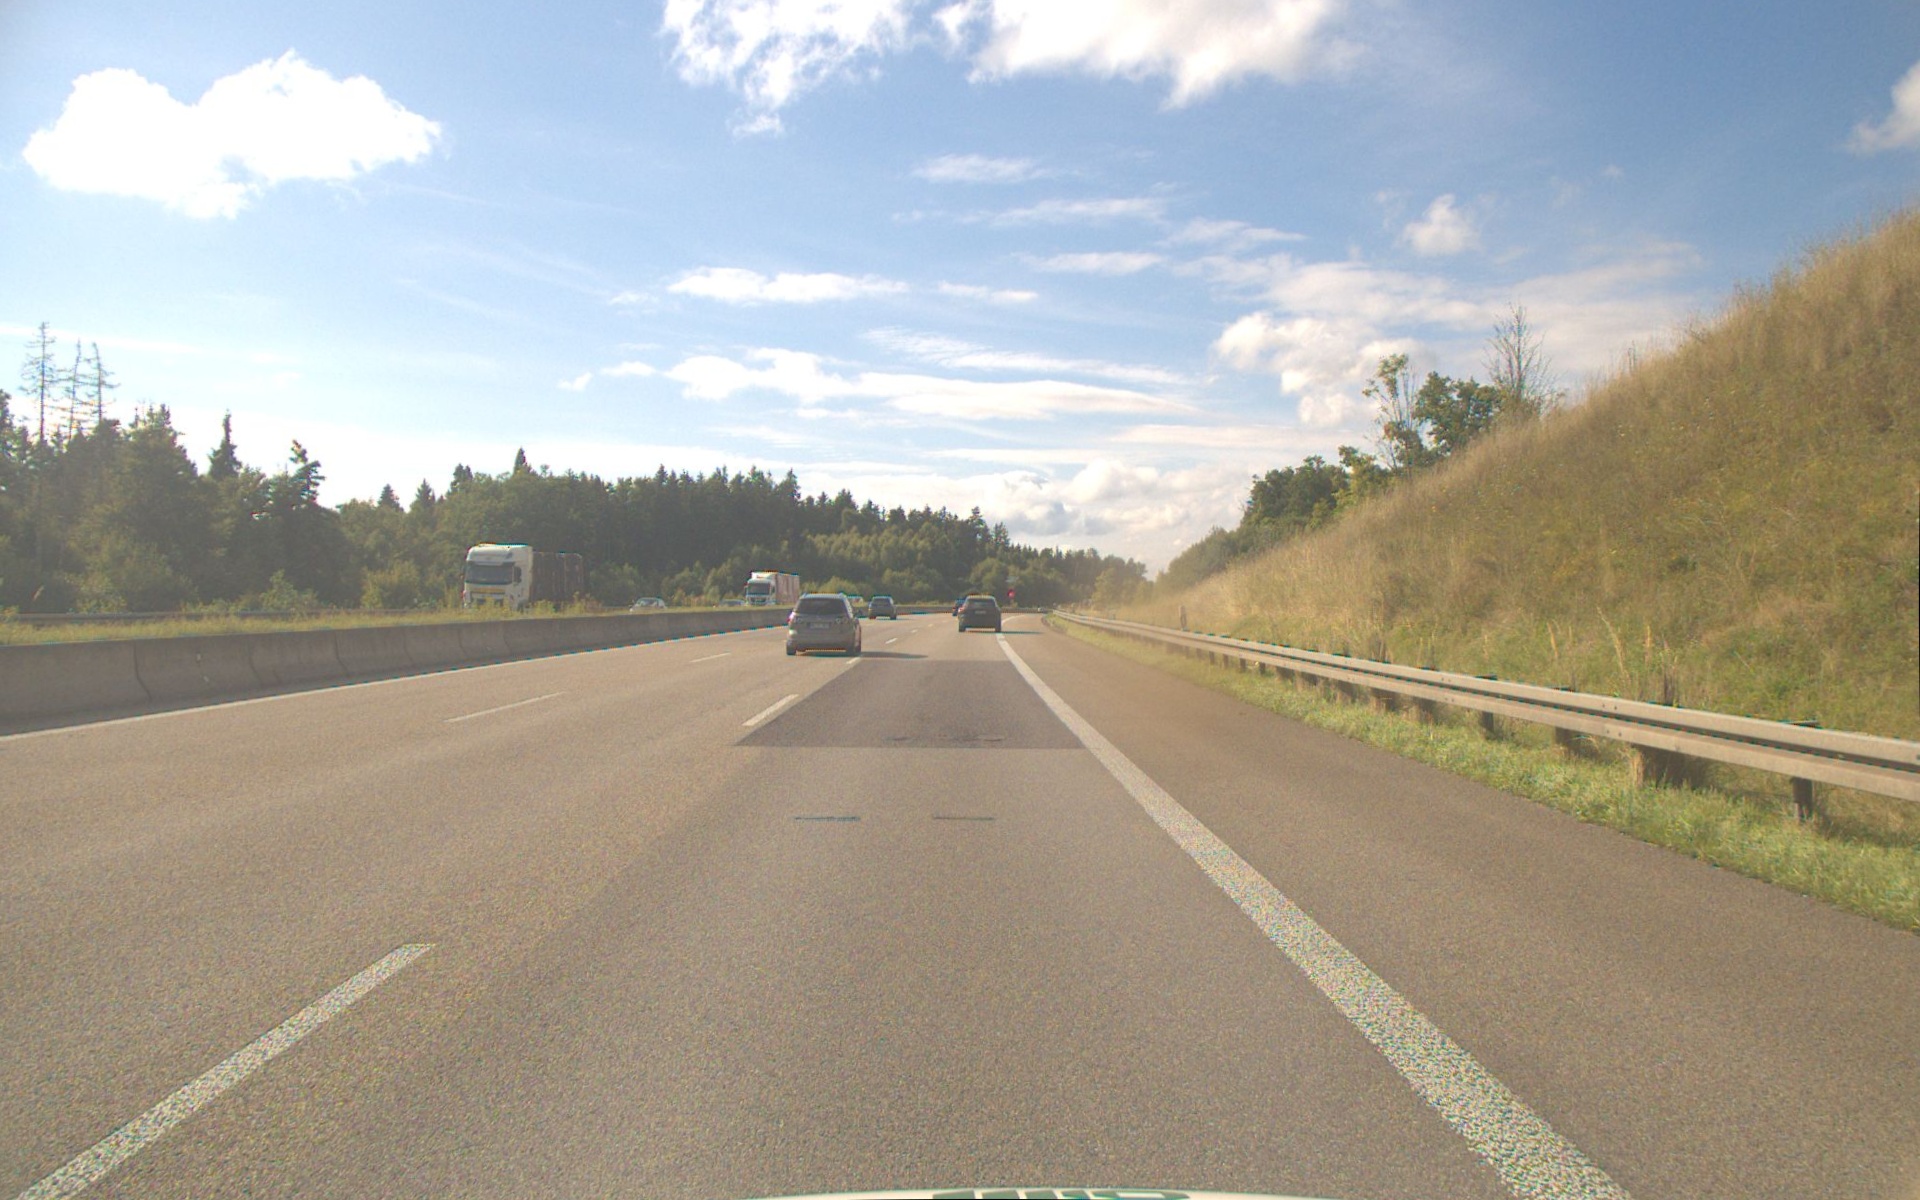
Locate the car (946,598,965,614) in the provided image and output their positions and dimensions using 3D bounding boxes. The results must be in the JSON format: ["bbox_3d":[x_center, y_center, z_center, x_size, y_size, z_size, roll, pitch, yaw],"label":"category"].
[{"bbox_3d":[-0.464,0.614,163.523,1.835,1.523,3.880,1,0,0],"label":"car"}]

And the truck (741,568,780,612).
[{"bbox_3d":[-19.224,-0.965,159.684,2.961,4.180,5.669,0,0,1],"label":"truck"}]

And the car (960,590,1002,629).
[{"bbox_3d":[0.956,0.433,75.143,1.835,1.704,3.890,1,0,0],"label":"car"}]

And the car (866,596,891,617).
[{"bbox_3d":[-5.966,0.473,121.547,1.836,1.523,3.878,1,0,-2],"label":"car"}]

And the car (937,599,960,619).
[{"bbox_3d":[-0.908,0.687,130.437,1.835,1.523,3.879,1,0,0],"label":"car"}]

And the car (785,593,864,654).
[{"bbox_3d":[-3.507,0.582,43.324,1.836,1.523,3.878,1,0,-2],"label":"car"}]

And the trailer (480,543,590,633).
[{"bbox_3d":[-22.526,-0.628,88.412,2.745,4.469,12.049,0,0,0],"label":"trailer"}]

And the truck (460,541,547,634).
[{"bbox_3d":[-22.510,-0.602,81.782,2.745,4.469,5.464,0,0,0],"label":"truck"}]

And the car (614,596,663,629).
[{"bbox_3d":[-18.265,0.697,94.160,1.952,1.834,4.000,0,0,0],"label":"car"}]
